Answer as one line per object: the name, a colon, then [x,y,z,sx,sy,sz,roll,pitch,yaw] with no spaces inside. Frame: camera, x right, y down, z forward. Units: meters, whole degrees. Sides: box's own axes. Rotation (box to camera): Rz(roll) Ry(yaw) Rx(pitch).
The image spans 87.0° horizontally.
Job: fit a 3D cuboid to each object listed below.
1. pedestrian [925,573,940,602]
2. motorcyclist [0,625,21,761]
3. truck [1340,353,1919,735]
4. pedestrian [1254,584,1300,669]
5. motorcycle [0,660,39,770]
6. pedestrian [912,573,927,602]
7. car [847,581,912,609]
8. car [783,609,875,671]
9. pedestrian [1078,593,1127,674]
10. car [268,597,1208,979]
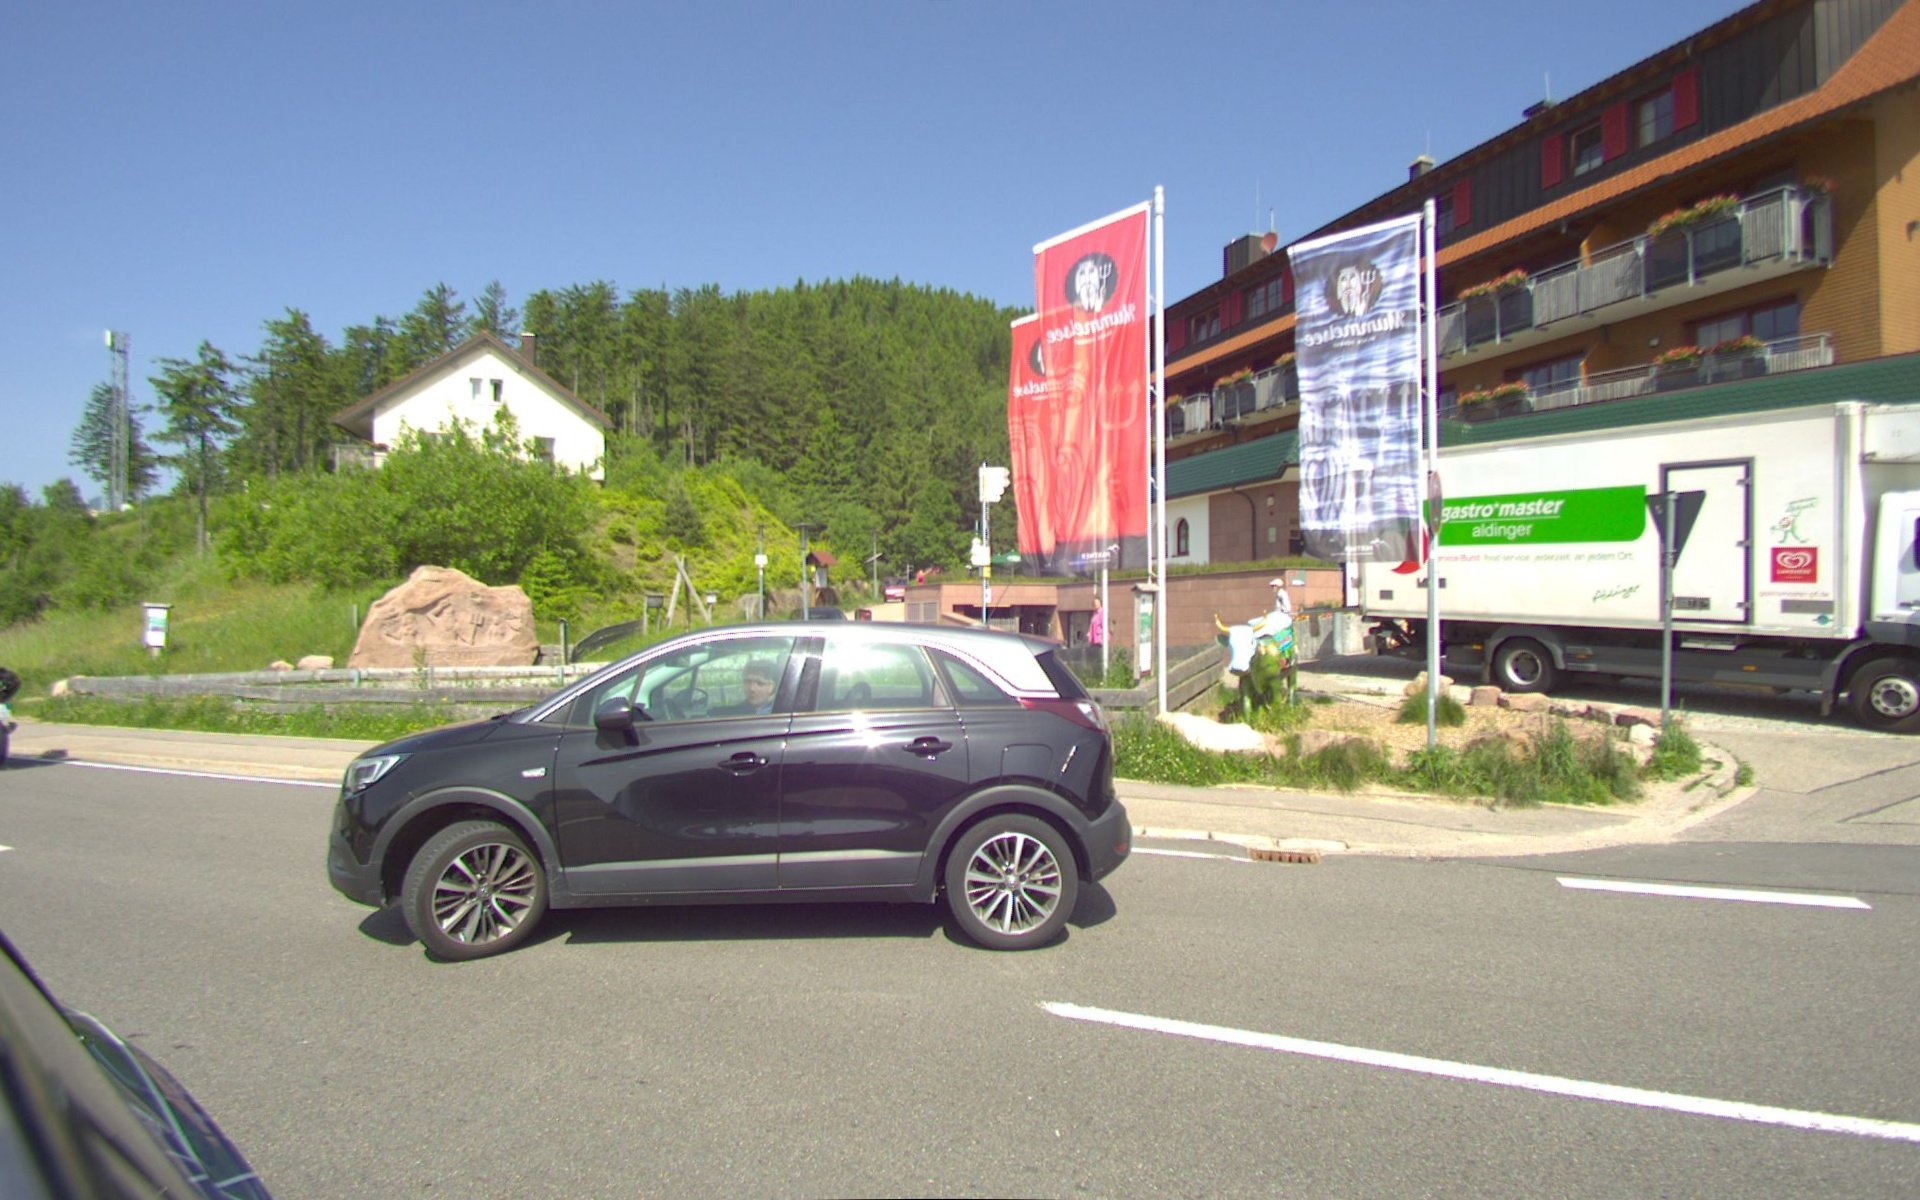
pedestrian: [-1.551,-0.701,57.674,0.564,1.553,0.634,-6,5,-19]
motorcyclist: [-12.342,1.131,12.286,1.290,1.654,0.875,-1,-3,21]
truck: [9.899,-0.674,13.970,3.018,4.001,8.799,-2,2,-29]
pedestrian: [6.446,0.540,20.577,0.565,1.702,0.655,1,-2,-31]
motorcycle: [-12.399,1.378,12.307,2.311,1.275,0.808,-1,-3,22]
pedestrian: [-2.290,-0.704,57.498,0.564,1.553,0.634,-6,5,-19]
car: [-4.384,-0.249,54.671,1.524,1.326,3.858,1,-2,-41]
car: [-3.780,1.074,28.608,1.847,1.364,4.013,1,3,-18]
pedestrian: [3.084,0.729,22.001,0.687,1.729,0.800,1,-2,-31]
car: [-0.997,0.867,5.493,4.087,1.629,1.988,0,-4,-4]
